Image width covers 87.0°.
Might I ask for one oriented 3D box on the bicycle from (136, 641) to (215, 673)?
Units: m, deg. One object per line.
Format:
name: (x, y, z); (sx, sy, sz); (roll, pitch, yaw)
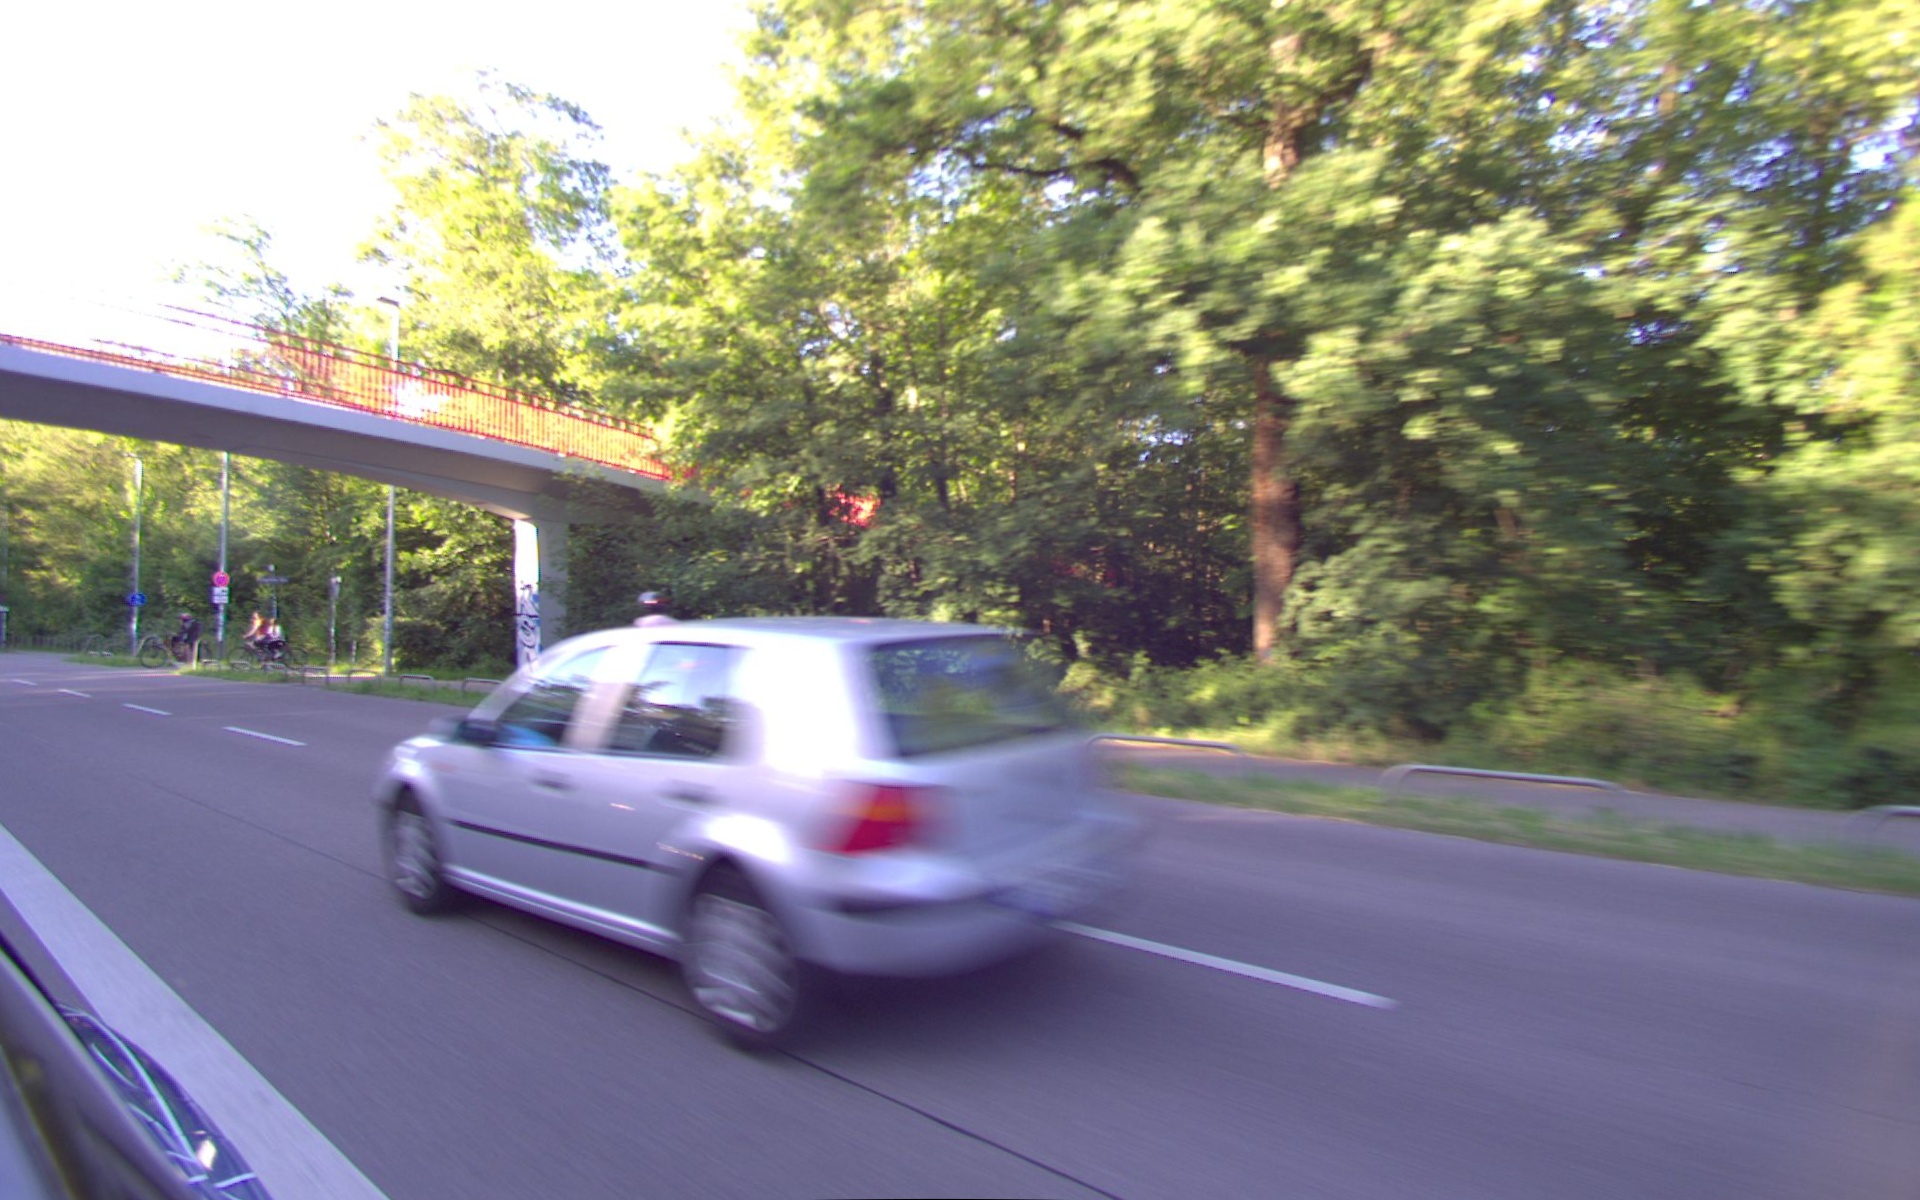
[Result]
bicycle: (-24.373, 1.751, 31.455); (1.903, 0.941, 0.825); (1, -2, -42)

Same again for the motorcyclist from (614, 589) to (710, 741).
motorcyclist: (-3.119, 0.656, 10.593); (0.671, 1.517, 0.717); (-1, -1, 40)

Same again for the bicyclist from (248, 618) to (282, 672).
bicyclist: (-22.538, 1.458, 32.828); (0.785, 1.710, 0.946); (1, -2, -42)

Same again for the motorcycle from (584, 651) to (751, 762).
motorcycle: (-3.088, 1.060, 10.562); (2.075, 1.003, 0.630); (-1, -1, 41)

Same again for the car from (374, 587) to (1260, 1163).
car: (-0.900, 0.708, 4.412); (3.887, 1.417, 1.664); (-1, 0, 41)

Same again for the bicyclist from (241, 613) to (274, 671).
bicyclist: (-23.426, 1.391, 33.755); (0.785, 1.915, 0.818); (1, -2, -42)

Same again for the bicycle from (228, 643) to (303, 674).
bicycle: (-22.509, 1.881, 32.826); (1.903, 0.941, 0.825); (1, -2, -42)

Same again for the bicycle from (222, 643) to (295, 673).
bicycle: (-23.400, 1.916, 33.772); (1.903, 0.941, 0.825); (2, -3, -42)

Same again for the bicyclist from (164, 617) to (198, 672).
bicyclist: (-24.287, 1.376, 31.537); (0.785, 1.656, 0.842); (0, -2, -42)
